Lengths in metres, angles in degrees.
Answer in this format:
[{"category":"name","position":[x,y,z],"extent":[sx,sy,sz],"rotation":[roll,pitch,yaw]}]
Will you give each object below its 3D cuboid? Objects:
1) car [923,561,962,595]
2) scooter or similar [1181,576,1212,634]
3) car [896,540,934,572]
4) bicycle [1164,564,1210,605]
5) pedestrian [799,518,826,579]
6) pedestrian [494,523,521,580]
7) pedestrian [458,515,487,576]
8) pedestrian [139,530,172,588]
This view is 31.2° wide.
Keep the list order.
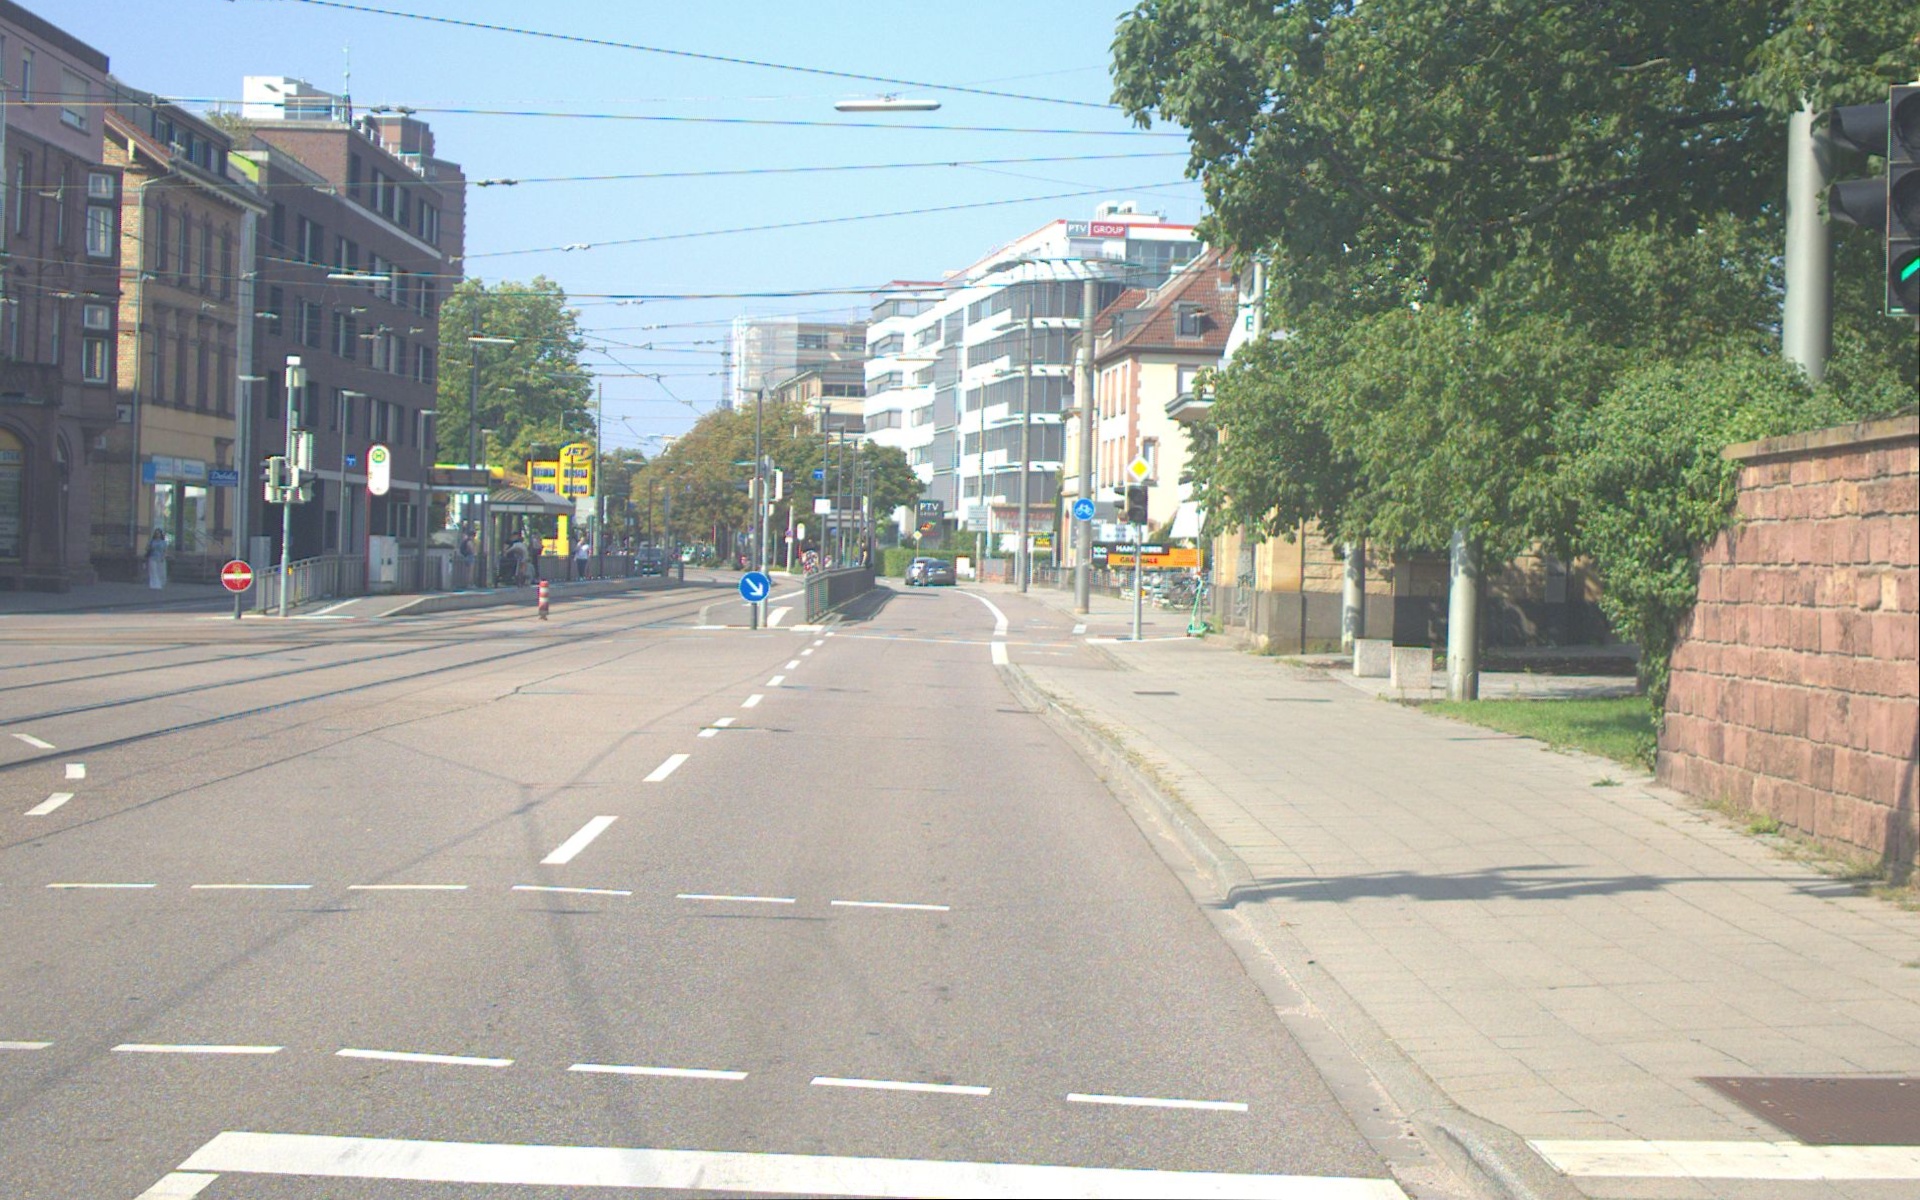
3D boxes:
[{"category":"car","position":[-0.955,-1.226,189.225],"extent":[2.011,1.852,4.000],"rotation":[0,1,1]},{"category":"scooter or similar","position":[4.655,0.084,67.805],"extent":[0.523,1.129,1.511],"rotation":[0,0,0]},{"category":"car","position":[-2.535,-2.497,195.459],"extent":[2.011,1.852,4.000],"rotation":[0,1,1]},{"category":"bicycle","position":[6.525,-0.458,98.961],"extent":[0.731,1.129,2.840],"rotation":[-2,1,-7]},{"category":"pedestrian","position":[-4.156,-1.454,96.847],"extent":[0.720,1.697,0.884],"rotation":[0,0,1]},{"category":"pedestrian","position":[-13.873,-1.482,105.491],"extent":[0.708,1.741,0.799],"rotation":[0,0,0]},{"category":"pedestrian","position":[-13.885,-1.553,98.017],"extent":[0.708,1.717,0.799],"rotation":[0,0,0]},{"category":"pedestrian","position":[-21.924,-1.119,93.724],"extent":[0.483,1.554,0.886],"rotation":[3,0,11]}]
